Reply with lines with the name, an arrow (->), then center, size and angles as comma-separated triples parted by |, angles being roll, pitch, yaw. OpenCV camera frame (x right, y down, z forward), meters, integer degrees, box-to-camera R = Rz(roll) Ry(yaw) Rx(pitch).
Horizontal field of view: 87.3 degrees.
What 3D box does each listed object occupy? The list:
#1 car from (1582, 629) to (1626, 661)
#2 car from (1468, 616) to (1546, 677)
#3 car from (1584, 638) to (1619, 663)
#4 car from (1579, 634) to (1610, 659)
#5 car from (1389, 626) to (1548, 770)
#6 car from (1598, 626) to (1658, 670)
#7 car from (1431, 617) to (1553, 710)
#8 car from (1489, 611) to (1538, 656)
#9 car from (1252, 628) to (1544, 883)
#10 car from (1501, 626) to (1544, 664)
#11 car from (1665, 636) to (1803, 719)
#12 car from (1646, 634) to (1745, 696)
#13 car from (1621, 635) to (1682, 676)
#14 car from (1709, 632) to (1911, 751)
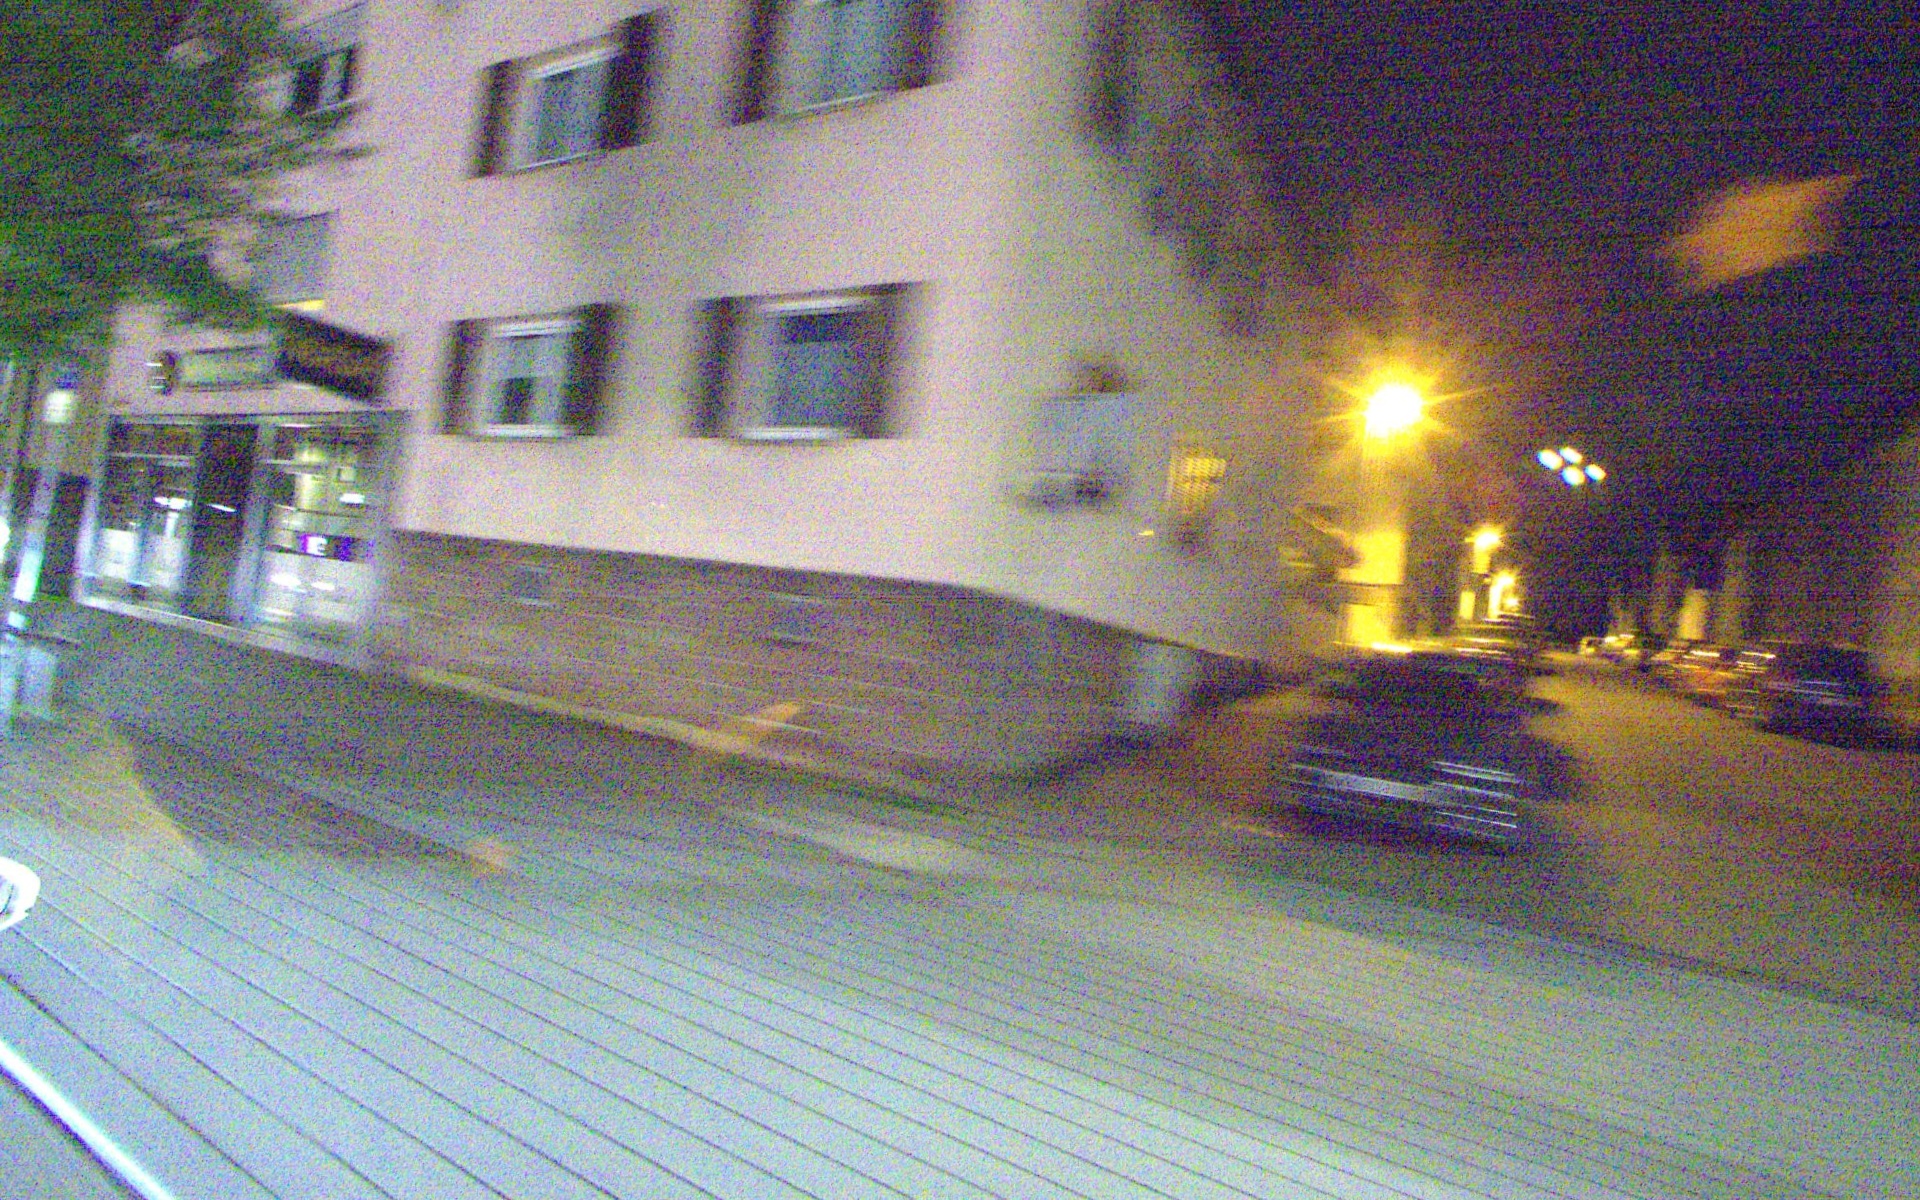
car -> 37.410, 2.566, 58.497 | 1.645, 1.568, 4.050 | 8, 3, 28
car -> 16.689, 1.350, 30.717 | 1.847, 1.569, 3.988 | 5, 2, 29
car -> 48.947, 3.857, 76.816 | 1.718, 1.568, 4.050 | 8, 3, 28
car -> 58.559, 4.300, 92.922 | 1.863, 1.973, 4.050 | 8, 3, 28
car -> 7.122, 1.208, 13.996 | 1.617, 1.497, 4.050 | 5, 2, 29
car -> 31.083, 2.183, 46.887 | 1.747, 1.703, 4.050 | 8, 3, 28
car -> 10.783, 1.185, 20.381 | 1.884, 1.497, 3.988 | 5, 2, 29
car -> 26.589, 1.559, 48.365 | 1.847, 1.892, 4.464 | 5, 2, 29
car -> 3.924, 1.102, 8.709 | 1.722, 1.496, 3.991 | 6, 1, 29
car -> 31.345, 2.479, 56.109 | 1.847, 1.795, 4.312 | 5, 2, 29
car -> 18.078, 1.736, 23.694 | 1.750, 1.501, 3.985 | 8, 3, 28
car -> 22.453, 1.933, 30.875 | 1.718, 1.501, 4.050 | 8, 3, 28
car -> 29.128, 2.312, 42.470 | 1.711, 1.404, 3.950 | 8, 3, 31
car -> 15.581, 1.573, 18.714 | 1.863, 1.669, 4.050 | 8, 3, 28
